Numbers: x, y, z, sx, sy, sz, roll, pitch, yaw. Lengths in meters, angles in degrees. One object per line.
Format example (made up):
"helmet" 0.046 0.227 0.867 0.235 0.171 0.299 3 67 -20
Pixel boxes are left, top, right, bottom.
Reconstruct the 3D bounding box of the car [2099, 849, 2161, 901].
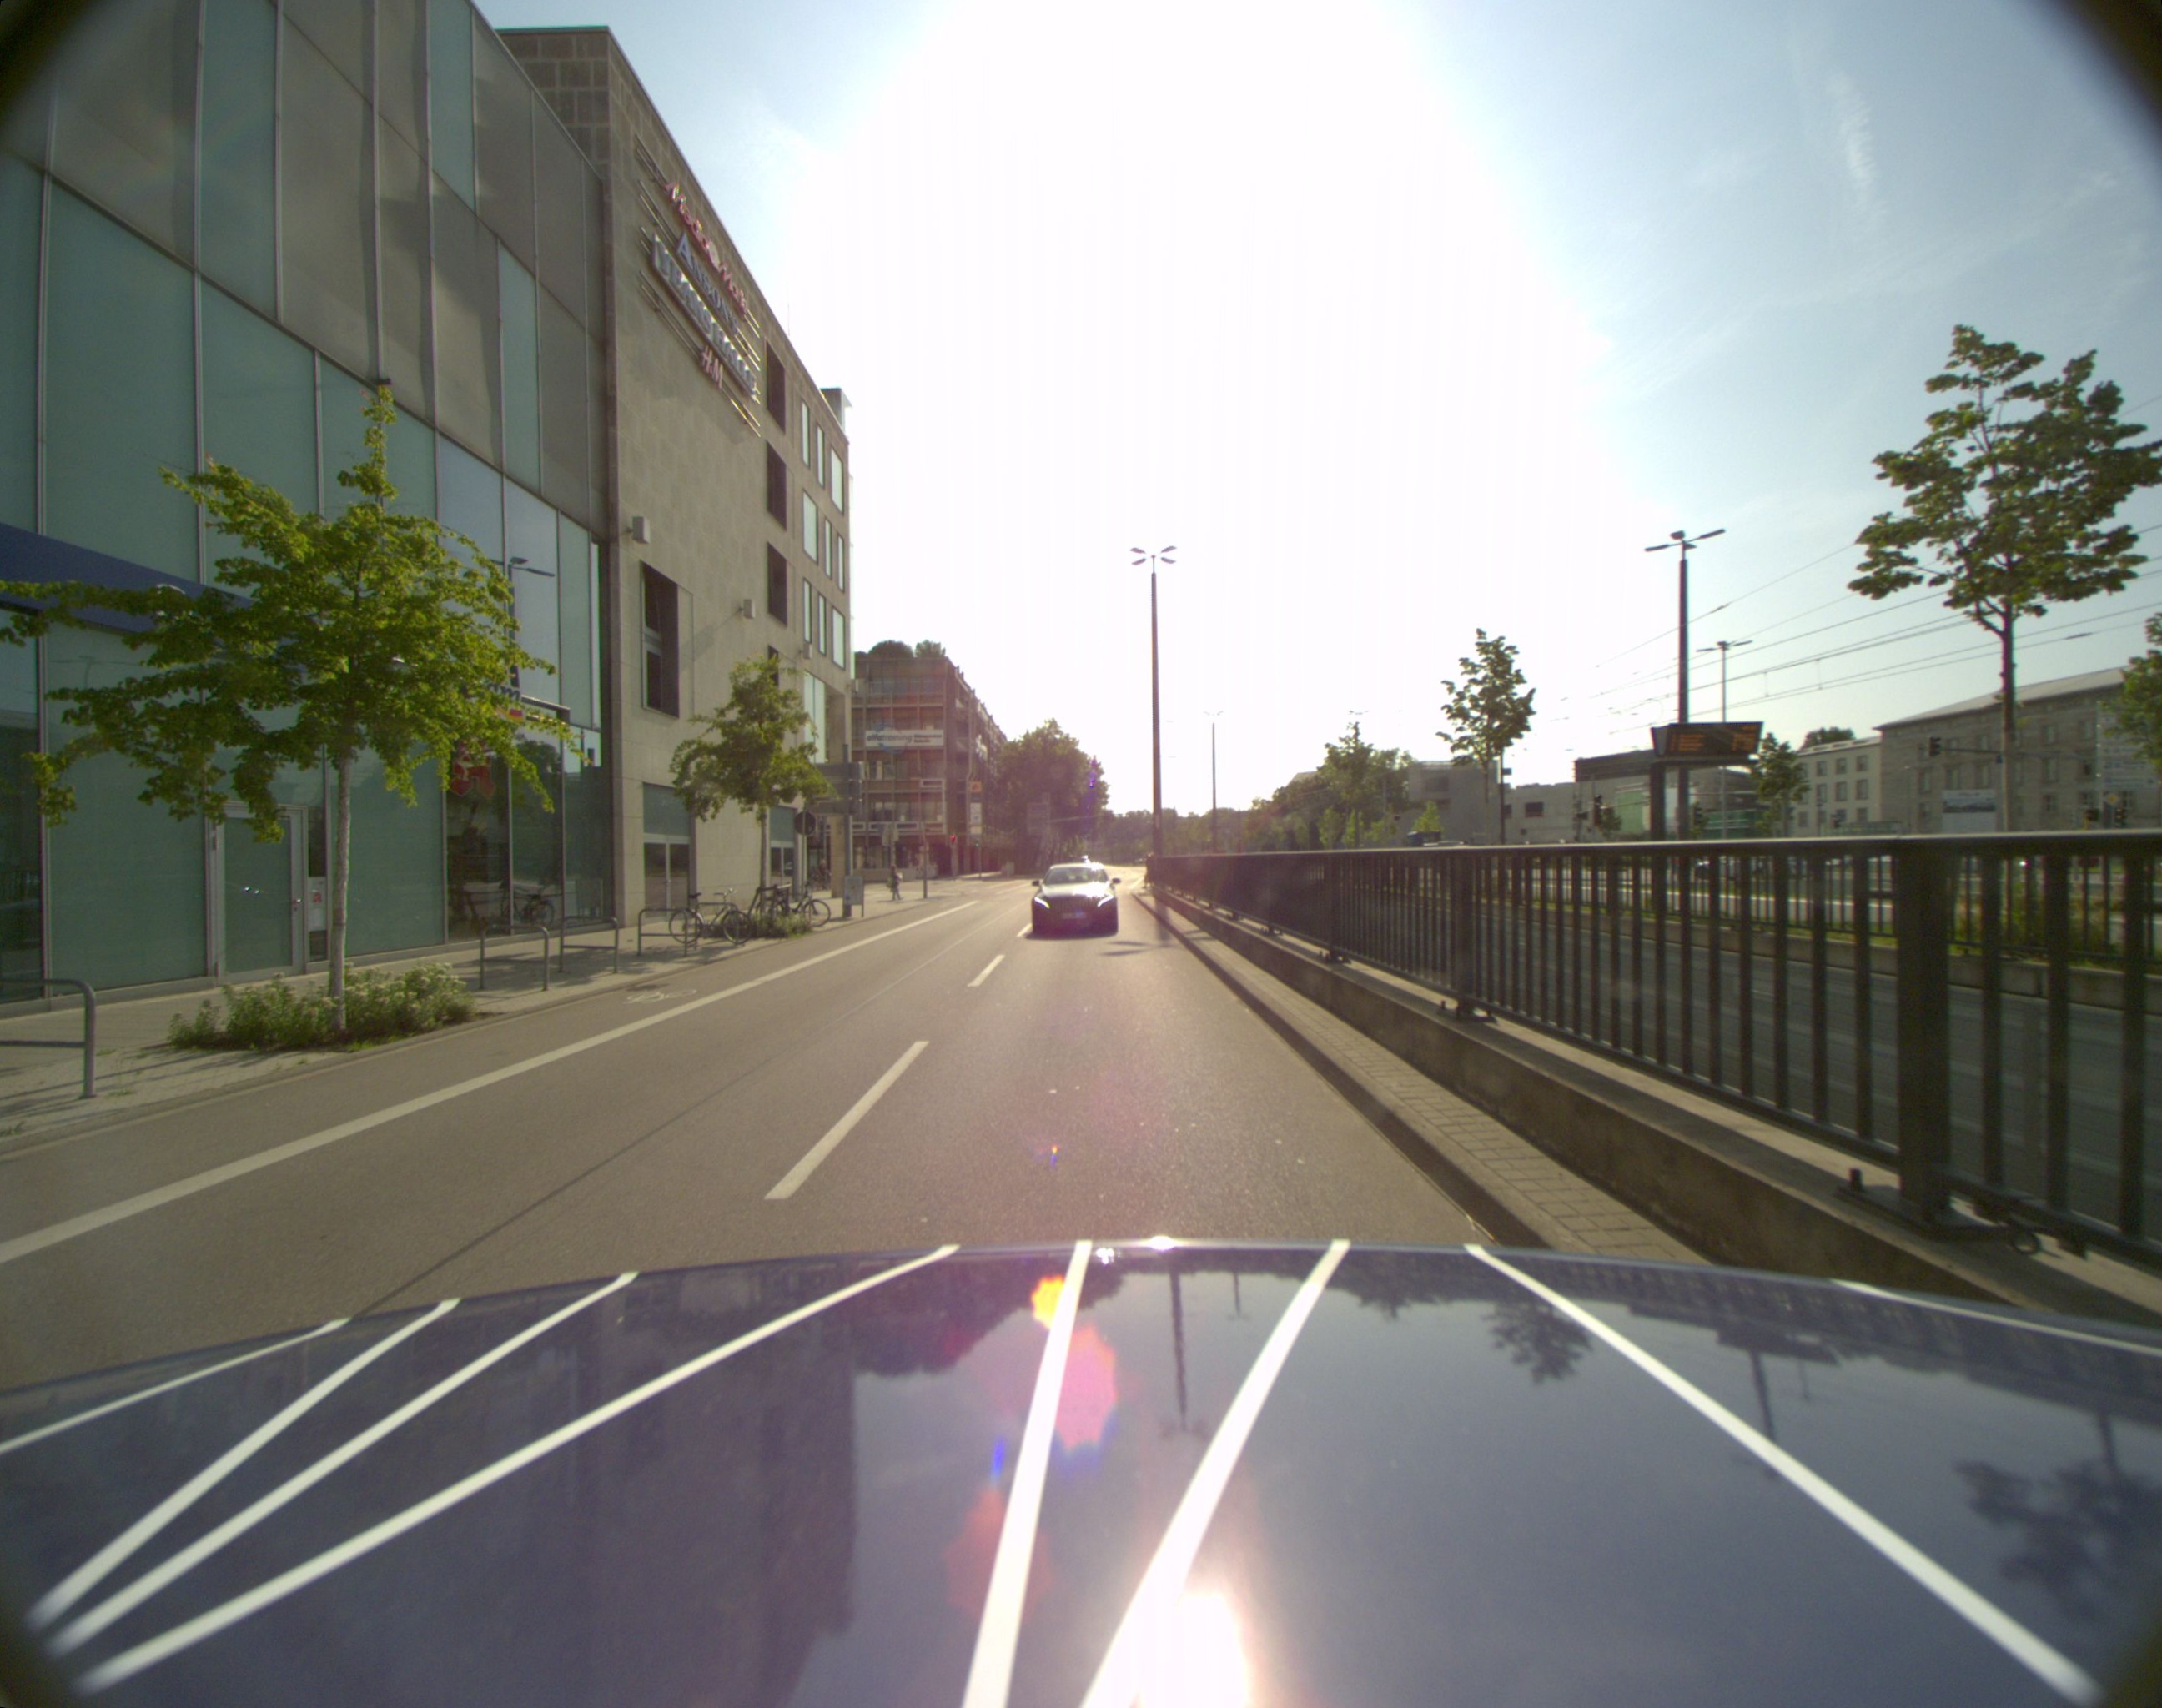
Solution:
"car" 29.908 0.557 19.810 1.725 1.353 3.697 -1 0 -3

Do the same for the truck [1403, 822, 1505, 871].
"truck" 29.161 -0.488 59.979 3.030 3.565 8.887 -1 0 -5

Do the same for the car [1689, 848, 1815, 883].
"car" 32.209 0.516 36.667 1.797 1.572 4.614 -1 0 -5

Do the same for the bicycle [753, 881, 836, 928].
"bicycle" -7.423 1.300 19.699 1.843 1.106 0.687 -2 0 3

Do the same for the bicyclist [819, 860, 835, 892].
"bicyclist" -14.181 1.225 42.437 0.636 1.727 0.582 -1 0 2

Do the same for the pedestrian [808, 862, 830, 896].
"pedestrian" -13.289 1.250 38.609 0.644 1.701 0.990 -1 0 9

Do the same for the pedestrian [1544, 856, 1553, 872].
"pedestrian" 50.156 1.086 81.508 0.606 1.687 0.538 -1 0 6

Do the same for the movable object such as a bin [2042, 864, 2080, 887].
"movable object such as a bin" 44.235 0.957 34.316 0.565 1.008 0.908 -1 0 5

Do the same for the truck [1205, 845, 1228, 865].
"truck" 27.906 0.213 156.872 2.979 3.786 10.424 -1 0 2

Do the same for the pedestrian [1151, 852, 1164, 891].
"pedestrian" 3.276 0.761 32.714 0.468 1.640 0.777 -1 0 1

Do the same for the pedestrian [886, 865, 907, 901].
"pedestrian" -7.738 1.210 31.891 0.709 1.478 0.604 -1 0 -4

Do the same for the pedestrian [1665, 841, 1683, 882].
"pedestrian" 24.638 0.302 31.578 0.371 1.666 0.641 -1 0 18

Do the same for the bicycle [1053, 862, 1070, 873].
"bicycle" -2.259 1.522 86.871 1.831 1.181 0.537 0 0 7

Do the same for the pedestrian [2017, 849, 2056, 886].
"pedestrian" 44.298 0.615 35.236 0.561 1.723 1.006 -1 0 5

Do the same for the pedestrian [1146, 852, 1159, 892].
"pedestrian" 2.986 0.756 31.859 0.468 1.640 0.777 -1 0 1

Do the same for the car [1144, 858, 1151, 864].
"car" 21.549 2.321 247.368 1.998 2.002 4.000 -3 0 1

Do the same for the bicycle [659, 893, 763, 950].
"bicycle" -7.540 1.365 15.522 1.882 1.103 0.490 -1 0 3

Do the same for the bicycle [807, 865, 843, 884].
"bicycle" -14.287 1.157 42.437 1.806 1.011 0.612 -1 0 1

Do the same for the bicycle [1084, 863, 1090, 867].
"bicycle" 0.941 1.748 119.953 0.630 0.702 1.808 -1 -1 -8

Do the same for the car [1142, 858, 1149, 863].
"car" 21.743 2.183 255.773 1.998 1.523 4.000 -3 0 1

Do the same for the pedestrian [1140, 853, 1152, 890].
"pedestrian" 2.966 0.793 34.880 0.468 1.640 0.777 -1 0 1

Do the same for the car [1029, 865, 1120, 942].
"car" -0.002 1.019 17.623 1.716 1.429 5.058 -2 0 4

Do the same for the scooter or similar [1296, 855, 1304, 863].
"scooter or similar" 30.248 0.733 104.970 0.540 1.140 1.383 -1 0 -4

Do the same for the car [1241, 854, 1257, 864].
"car" 28.154 0.845 127.449 1.644 1.592 3.999 -1 0 -2

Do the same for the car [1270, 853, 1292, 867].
"car" 27.591 0.804 104.839 1.620 1.778 4.517 -1 0 -3

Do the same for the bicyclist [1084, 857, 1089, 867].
"bicyclist" 0.918 1.227 120.004 0.612 1.504 0.813 -1 0 -8
